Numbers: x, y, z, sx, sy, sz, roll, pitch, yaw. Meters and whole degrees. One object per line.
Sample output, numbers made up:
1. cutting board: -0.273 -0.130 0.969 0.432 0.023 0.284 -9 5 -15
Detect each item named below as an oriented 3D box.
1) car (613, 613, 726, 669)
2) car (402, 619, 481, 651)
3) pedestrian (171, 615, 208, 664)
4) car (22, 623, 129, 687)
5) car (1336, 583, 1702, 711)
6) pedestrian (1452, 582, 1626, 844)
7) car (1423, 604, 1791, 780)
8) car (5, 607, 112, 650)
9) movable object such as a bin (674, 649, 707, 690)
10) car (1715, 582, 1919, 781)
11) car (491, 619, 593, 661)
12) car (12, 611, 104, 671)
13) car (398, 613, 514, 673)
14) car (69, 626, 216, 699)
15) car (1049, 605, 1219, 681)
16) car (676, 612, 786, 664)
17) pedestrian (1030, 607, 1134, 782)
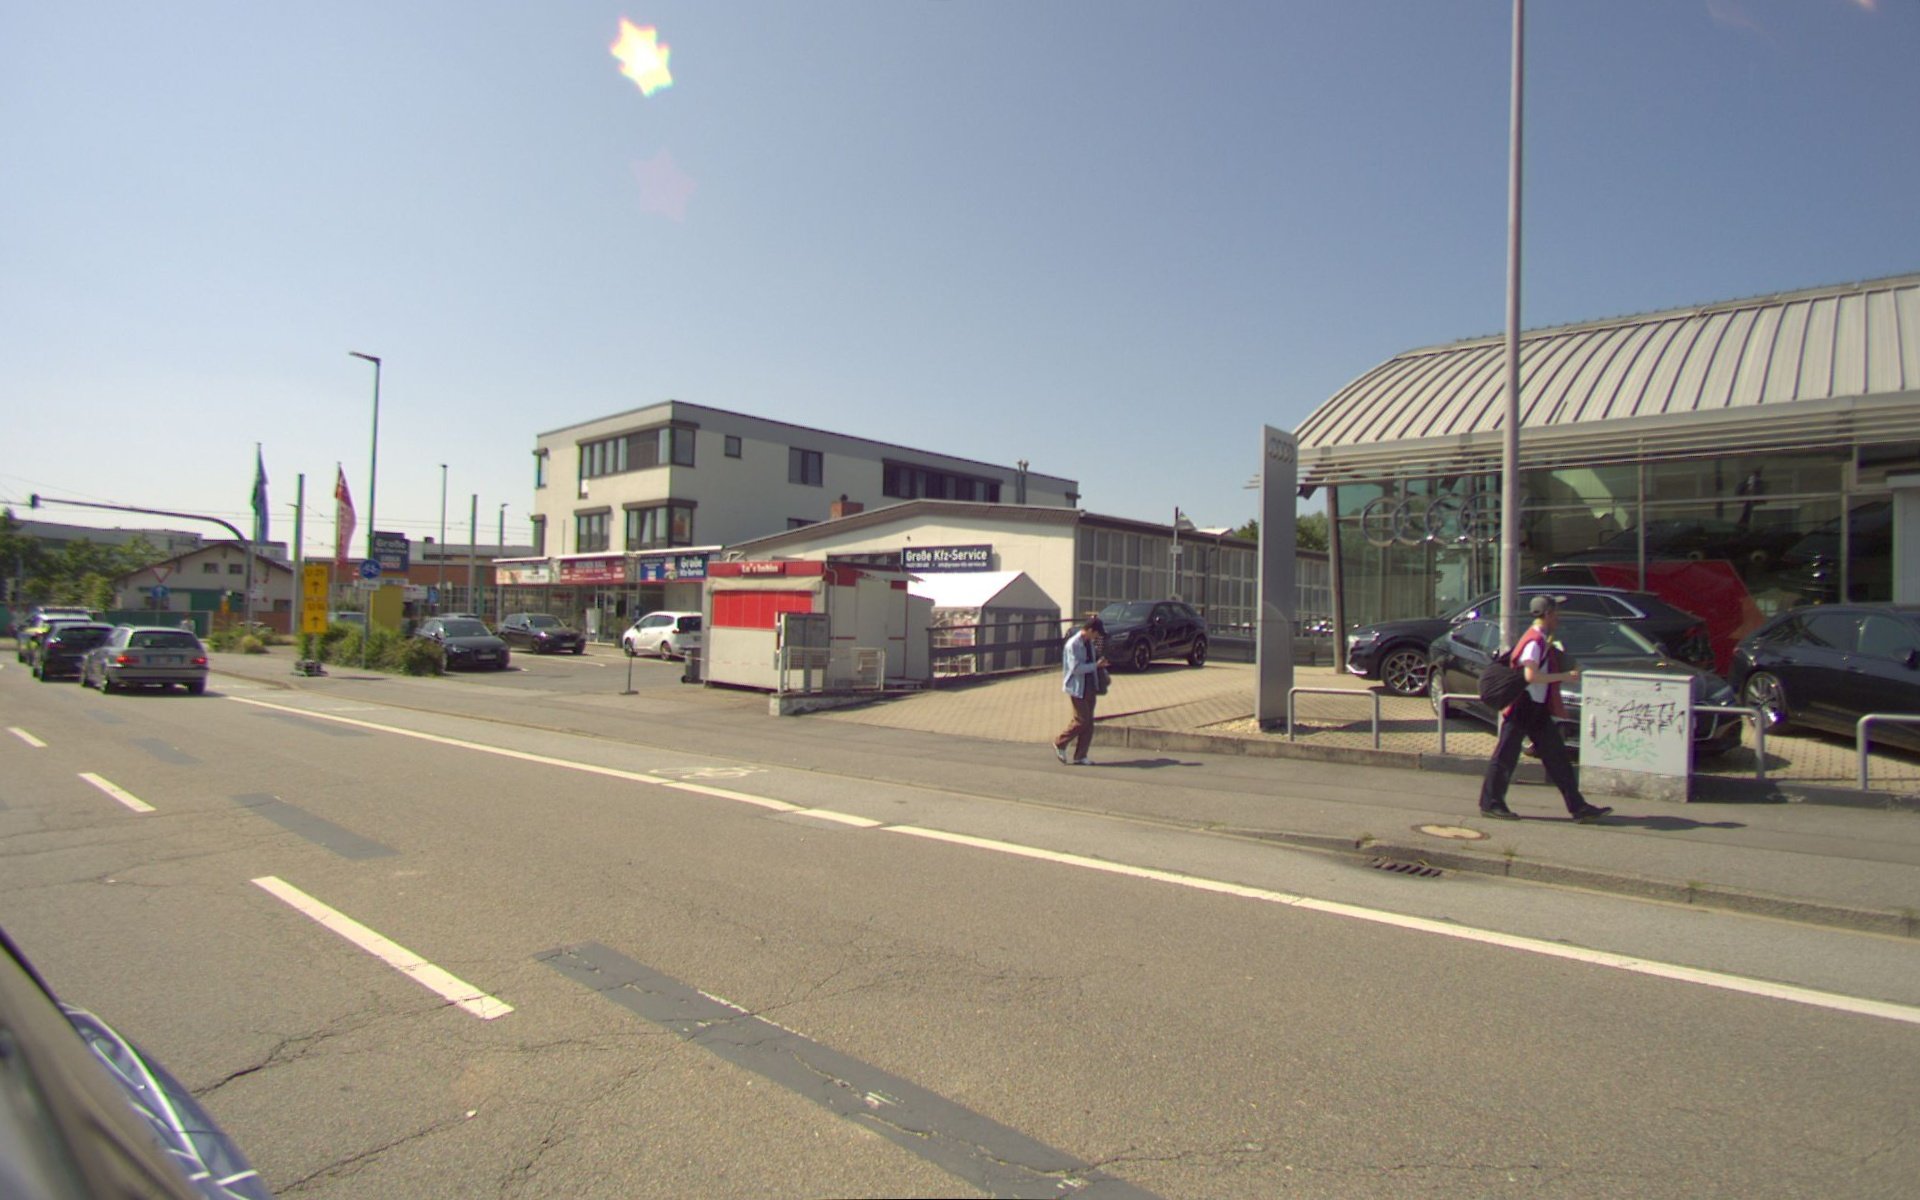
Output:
1. car: -10.328 1.410 35.758 1.885 1.721 4.482 3 -1 -44
2. car: -23.805 1.595 46.369 4.486 1.399 1.885 -1 -3 45
3. pedestrian: -27.451 1.401 36.053 0.981 1.698 0.801 3 -3 -38
4. car: -22.303 1.351 25.462 4.242 1.465 1.641 -1 -5 45
5. car: 8.451 0.646 15.769 4.707 1.732 1.983 0 1 26
6. pedestrian: 4.516 0.833 7.910 1.046 1.882 0.725 -1 -3 41
7. car: 6.812 0.866 11.283 1.886 1.470 4.149 -2 1 9
8. car: -55.490 1.731 62.396 4.365 1.960 2.003 8 -1 -12
9. movable object such as a bin: -6.589 1.691 24.736 0.564 0.930 0.691 -1 -1 -36
10. car: 9.500 0.728 9.335 1.941 1.621 4.475 -4 1 6
11. car: -15.446 1.459 37.315 4.420 1.432 1.885 -1 -3 45
12. car: -28.969 1.299 32.461 4.355 1.772 1.871 -1 -3 45
13. car: -15.419 1.292 30.889 4.001 1.728 1.884 -1 -3 44
14. car: -17.787 1.312 21.950 4.322 1.415 1.723 -1 -4 42
15. car: 3.938 0.927 22.518 1.898 1.536 3.943 -1 -2 43
16. car: -8.533 1.391 37.484 4.420 1.830 1.885 -1 -3 45
17. pedestrian: 1.366 1.022 11.355 0.911 1.862 0.715 -1 -3 40
